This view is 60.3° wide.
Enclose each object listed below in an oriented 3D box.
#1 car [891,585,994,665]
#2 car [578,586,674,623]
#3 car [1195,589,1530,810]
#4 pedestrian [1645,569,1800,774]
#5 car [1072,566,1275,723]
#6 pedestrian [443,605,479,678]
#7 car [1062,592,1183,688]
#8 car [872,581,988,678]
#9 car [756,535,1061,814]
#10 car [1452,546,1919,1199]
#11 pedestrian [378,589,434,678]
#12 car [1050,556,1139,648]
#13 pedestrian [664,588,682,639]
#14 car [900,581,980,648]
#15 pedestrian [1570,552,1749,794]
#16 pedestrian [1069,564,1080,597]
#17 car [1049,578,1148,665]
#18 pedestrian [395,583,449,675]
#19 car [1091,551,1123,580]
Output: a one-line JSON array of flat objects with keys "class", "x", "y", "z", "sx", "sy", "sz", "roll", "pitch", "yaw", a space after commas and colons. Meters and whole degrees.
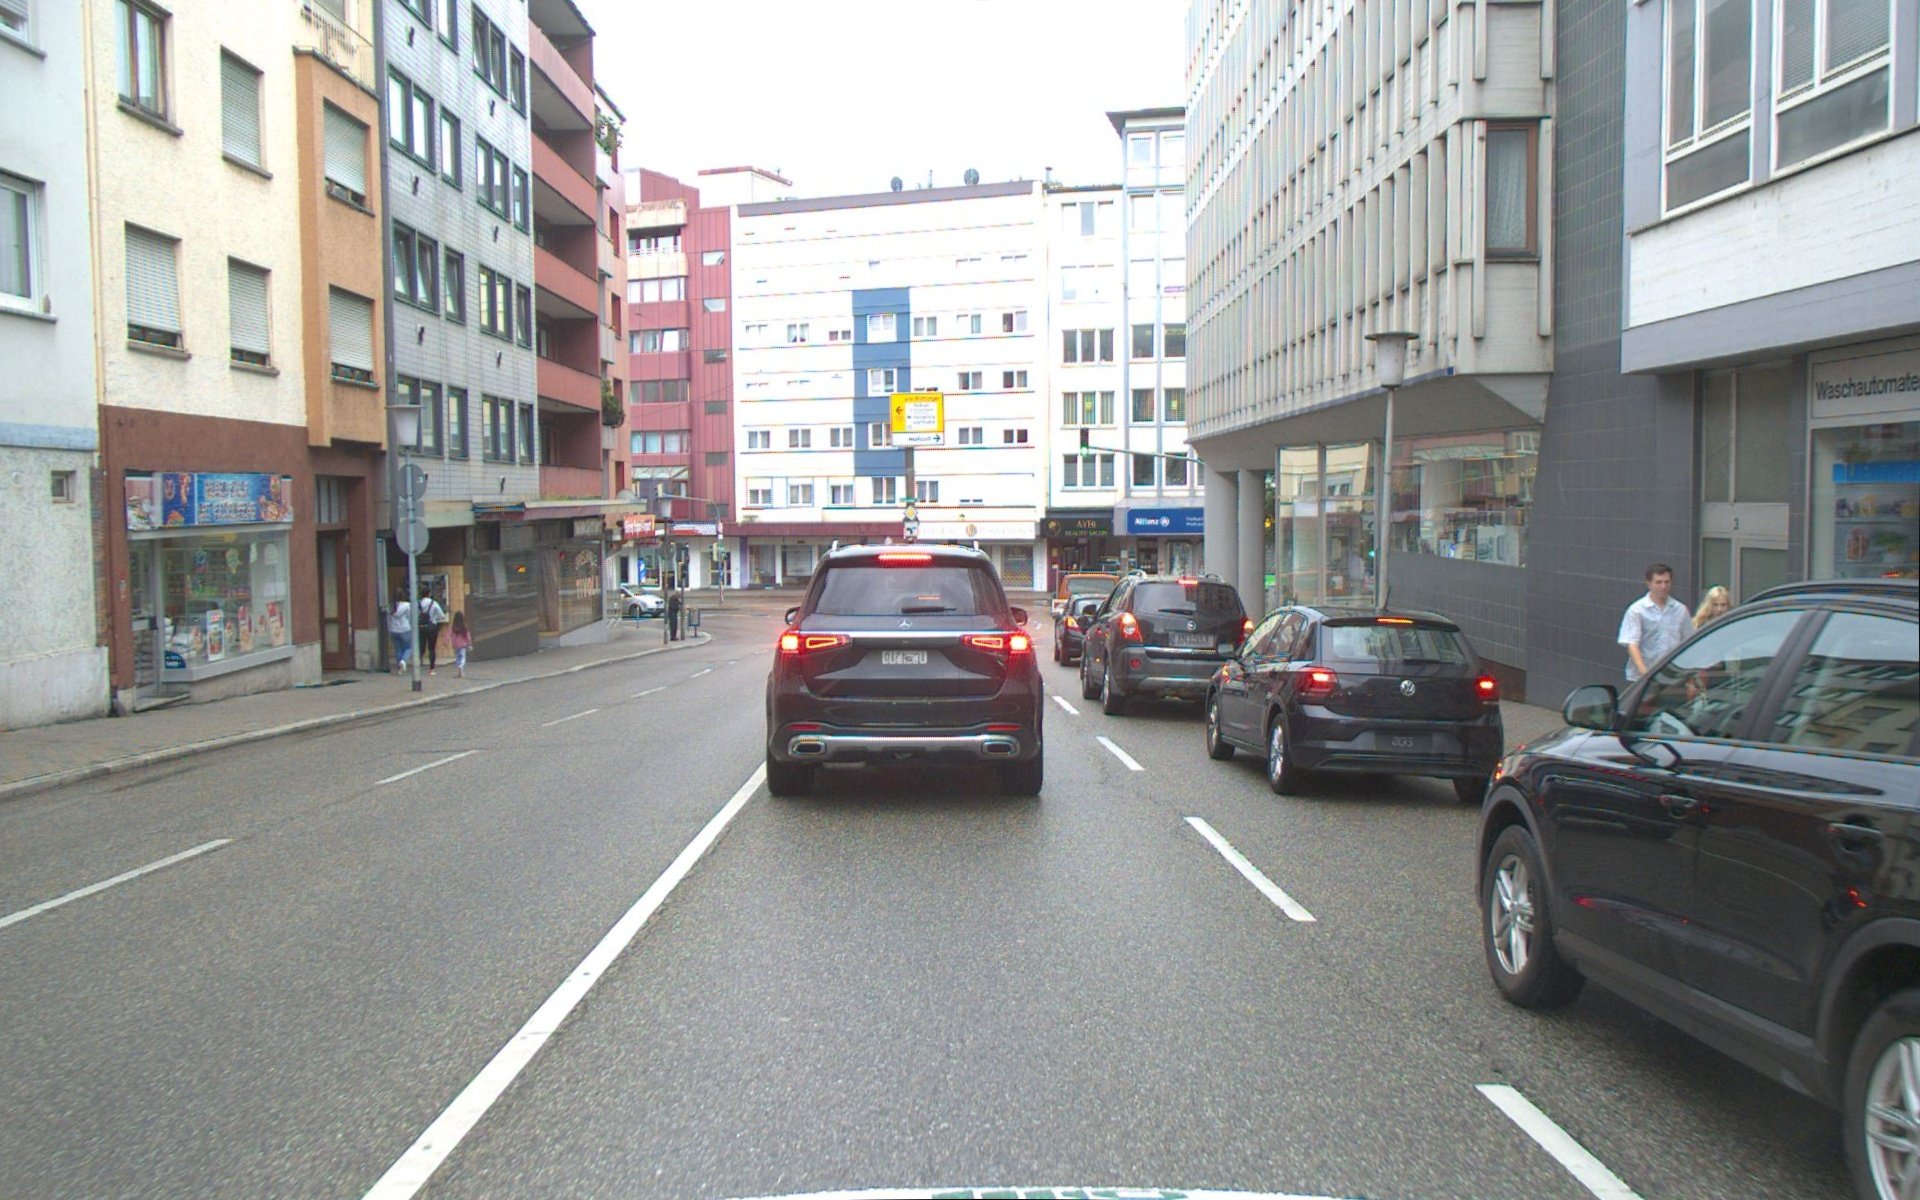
[{"class": "car", "x": -0.349, "y": 0.461, "z": 33.901, "sx": 1.953, "sy": 1.512, "sz": 4.236, "roll": -1, "pitch": 0, "yaw": 0}, {"class": "car", "x": -15.657, "y": 0.199, "z": 77.598, "sx": 4.073, "sy": 1.620, "sz": 1.742, "roll": 1, "pitch": 1, "yaw": 15}, {"class": "car", "x": 3.183, "y": 0.705, "z": 13.889, "sx": 1.654, "sy": 1.503, "sz": 3.998, "roll": 3, "pitch": 0, "yaw": -2}, {"class": "pedestrian", "x": 6.220, "y": 0.563, "z": 13.528, "sx": 0.750, "sy": 1.578, "sz": 0.890, "roll": -3, "pitch": 0, "yaw": -4}, {"class": "car", "x": 2.616, "y": 0.493, "z": 21.312, "sx": 1.859, "sy": 1.724, "sz": 4.504, "roll": 3, "pitch": 0, "yaw": -2}, {"class": "pedestrian", "x": -9.454, "y": 0.777, "z": 31.360, "sx": 0.523, "sy": 1.346, "sz": 0.722, "roll": 2, "pitch": 0, "yaw": -9}, {"class": "car", "x": 2.814, "y": 0.650, "z": 29.365, "sx": 1.731, "sy": 1.421, "sz": 4.001, "roll": 5, "pitch": 1, "yaw": 1}, {"class": "car", "x": -0.554, "y": 0.452, "z": 28.624, "sx": 1.836, "sy": 1.521, "sz": 4.399, "roll": 1, "pitch": 0, "yaw": -2}, {"class": "car", "x": -0.414, "y": 0.475, "z": 13.274, "sx": 1.998, "sy": 1.830, "sz": 4.661, "roll": 1, "pitch": 0, "yaw": -2}, {"class": "car", "x": 3.019, "y": 0.703, "z": 4.875, "sx": 1.786, "sy": 1.587, "sz": 4.200, "roll": 2, "pitch": 0, "yaw": -1}, {"class": "pedestrian", "x": -10.145, "y": 0.613, "z": 30.317, "sx": 0.812, "sy": 1.588, "sz": 0.722, "roll": 2, "pitch": 0, "yaw": -9}, {"class": "car", "x": 3.547, "y": 0.041, "z": 44.321, "sx": 2.195, "sy": 2.267, "sz": 5.431, "roll": 1, "pitch": 0, "yaw": 3}, {"class": "pedestrian", "x": -9.918, "y": 0.466, "z": 57.188, "sx": 0.543, "sy": 1.727, "sz": 0.623, "roll": 0, "pitch": 0, "yaw": -4}, {"class": "car", "x": -0.498, "y": 0.386, "z": 42.067, "sx": 1.885, "sy": 1.542, "sz": 4.661, "roll": 2, "pitch": -1, "yaw": -1}, {"class": "pedestrian", "x": 5.339, "y": 0.534, "z": 12.689, "sx": 0.768, "sy": 1.735, "sz": 1.120, "roll": -3, "pitch": 0, "yaw": -4}, {"class": "pedestrian", "x": 6.199, "y": -1.039, "z": 89.696, "sx": 0.552, "sy": 1.717, "sz": 0.757, "roll": -1, "pitch": 6, "yaw": 6}, {"class": "car", "x": 2.855, "y": 0.434, "z": 34.988, "sx": 1.785, "sy": 1.687, "sz": 4.496, "roll": 1, "pitch": 0, "yaw": 1}, {"class": "pedestrian", "x": -10.226, "y": 0.540, "z": 31.456, "sx": 0.812, "sy": 1.719, "sz": 0.722, "roll": 2, "pitch": 0, "yaw": -9}, {"class": "car", "x": 9.152, "y": -2.132, "z": 102.591, "sx": 1.759, "sy": 1.699, "sz": 4.004, "roll": -1, "pitch": 1, "yaw": 8}]
